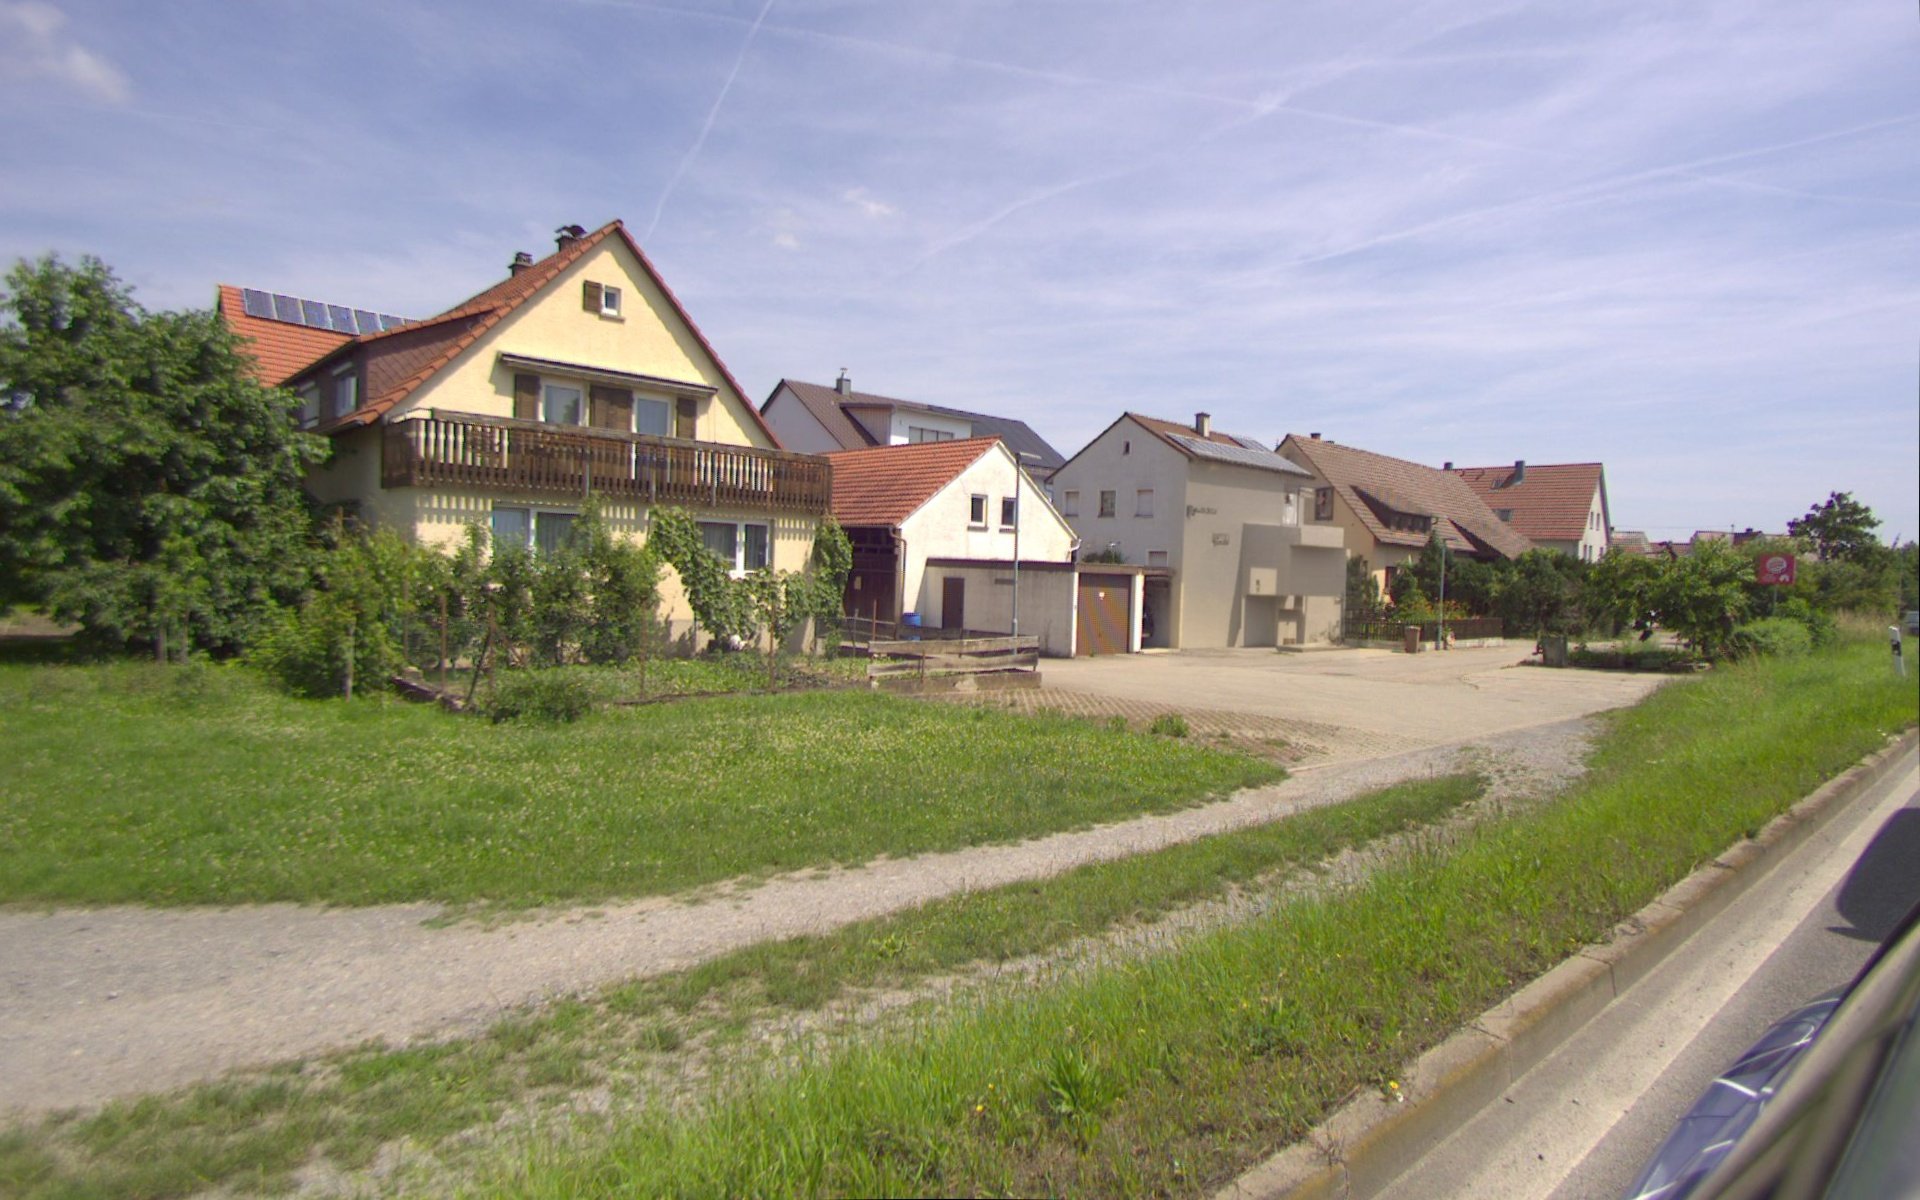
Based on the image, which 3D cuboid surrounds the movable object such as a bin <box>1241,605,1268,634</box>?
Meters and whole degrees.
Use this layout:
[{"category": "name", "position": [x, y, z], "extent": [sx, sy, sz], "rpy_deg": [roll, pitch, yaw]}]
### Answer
[{"category": "movable object such as a bin", "position": [11.848, 0.780, 40.701], "extent": [0.816, 1.171, 0.739], "rpy_deg": [1, 0, -42]}]

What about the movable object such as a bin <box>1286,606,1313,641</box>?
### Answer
[{"category": "movable object such as a bin", "position": [13.257, 0.918, 39.485], "extent": [0.806, 1.355, 0.677], "rpy_deg": [1, 0, -42]}]

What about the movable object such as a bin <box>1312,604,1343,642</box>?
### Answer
[{"category": "movable object such as a bin", "position": [13.912, 0.858, 38.273], "extent": [0.930, 1.387, 0.764], "rpy_deg": [1, 0, -42]}]

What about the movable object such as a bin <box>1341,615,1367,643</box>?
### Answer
[{"category": "movable object such as a bin", "position": [14.629, 1.072, 37.570], "extent": [0.743, 1.040, 0.645], "rpy_deg": [1, 0, -42]}]

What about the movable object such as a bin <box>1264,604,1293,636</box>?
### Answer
[{"category": "movable object such as a bin", "position": [12.642, 0.788, 40.165], "extent": [0.874, 1.262, 0.744], "rpy_deg": [1, 0, -42]}]

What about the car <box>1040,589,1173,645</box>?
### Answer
[{"category": "car", "position": [4.588, 0.489, 32.175], "extent": [1.794, 1.624, 3.995], "rpy_deg": [1, 1, -40]}]
